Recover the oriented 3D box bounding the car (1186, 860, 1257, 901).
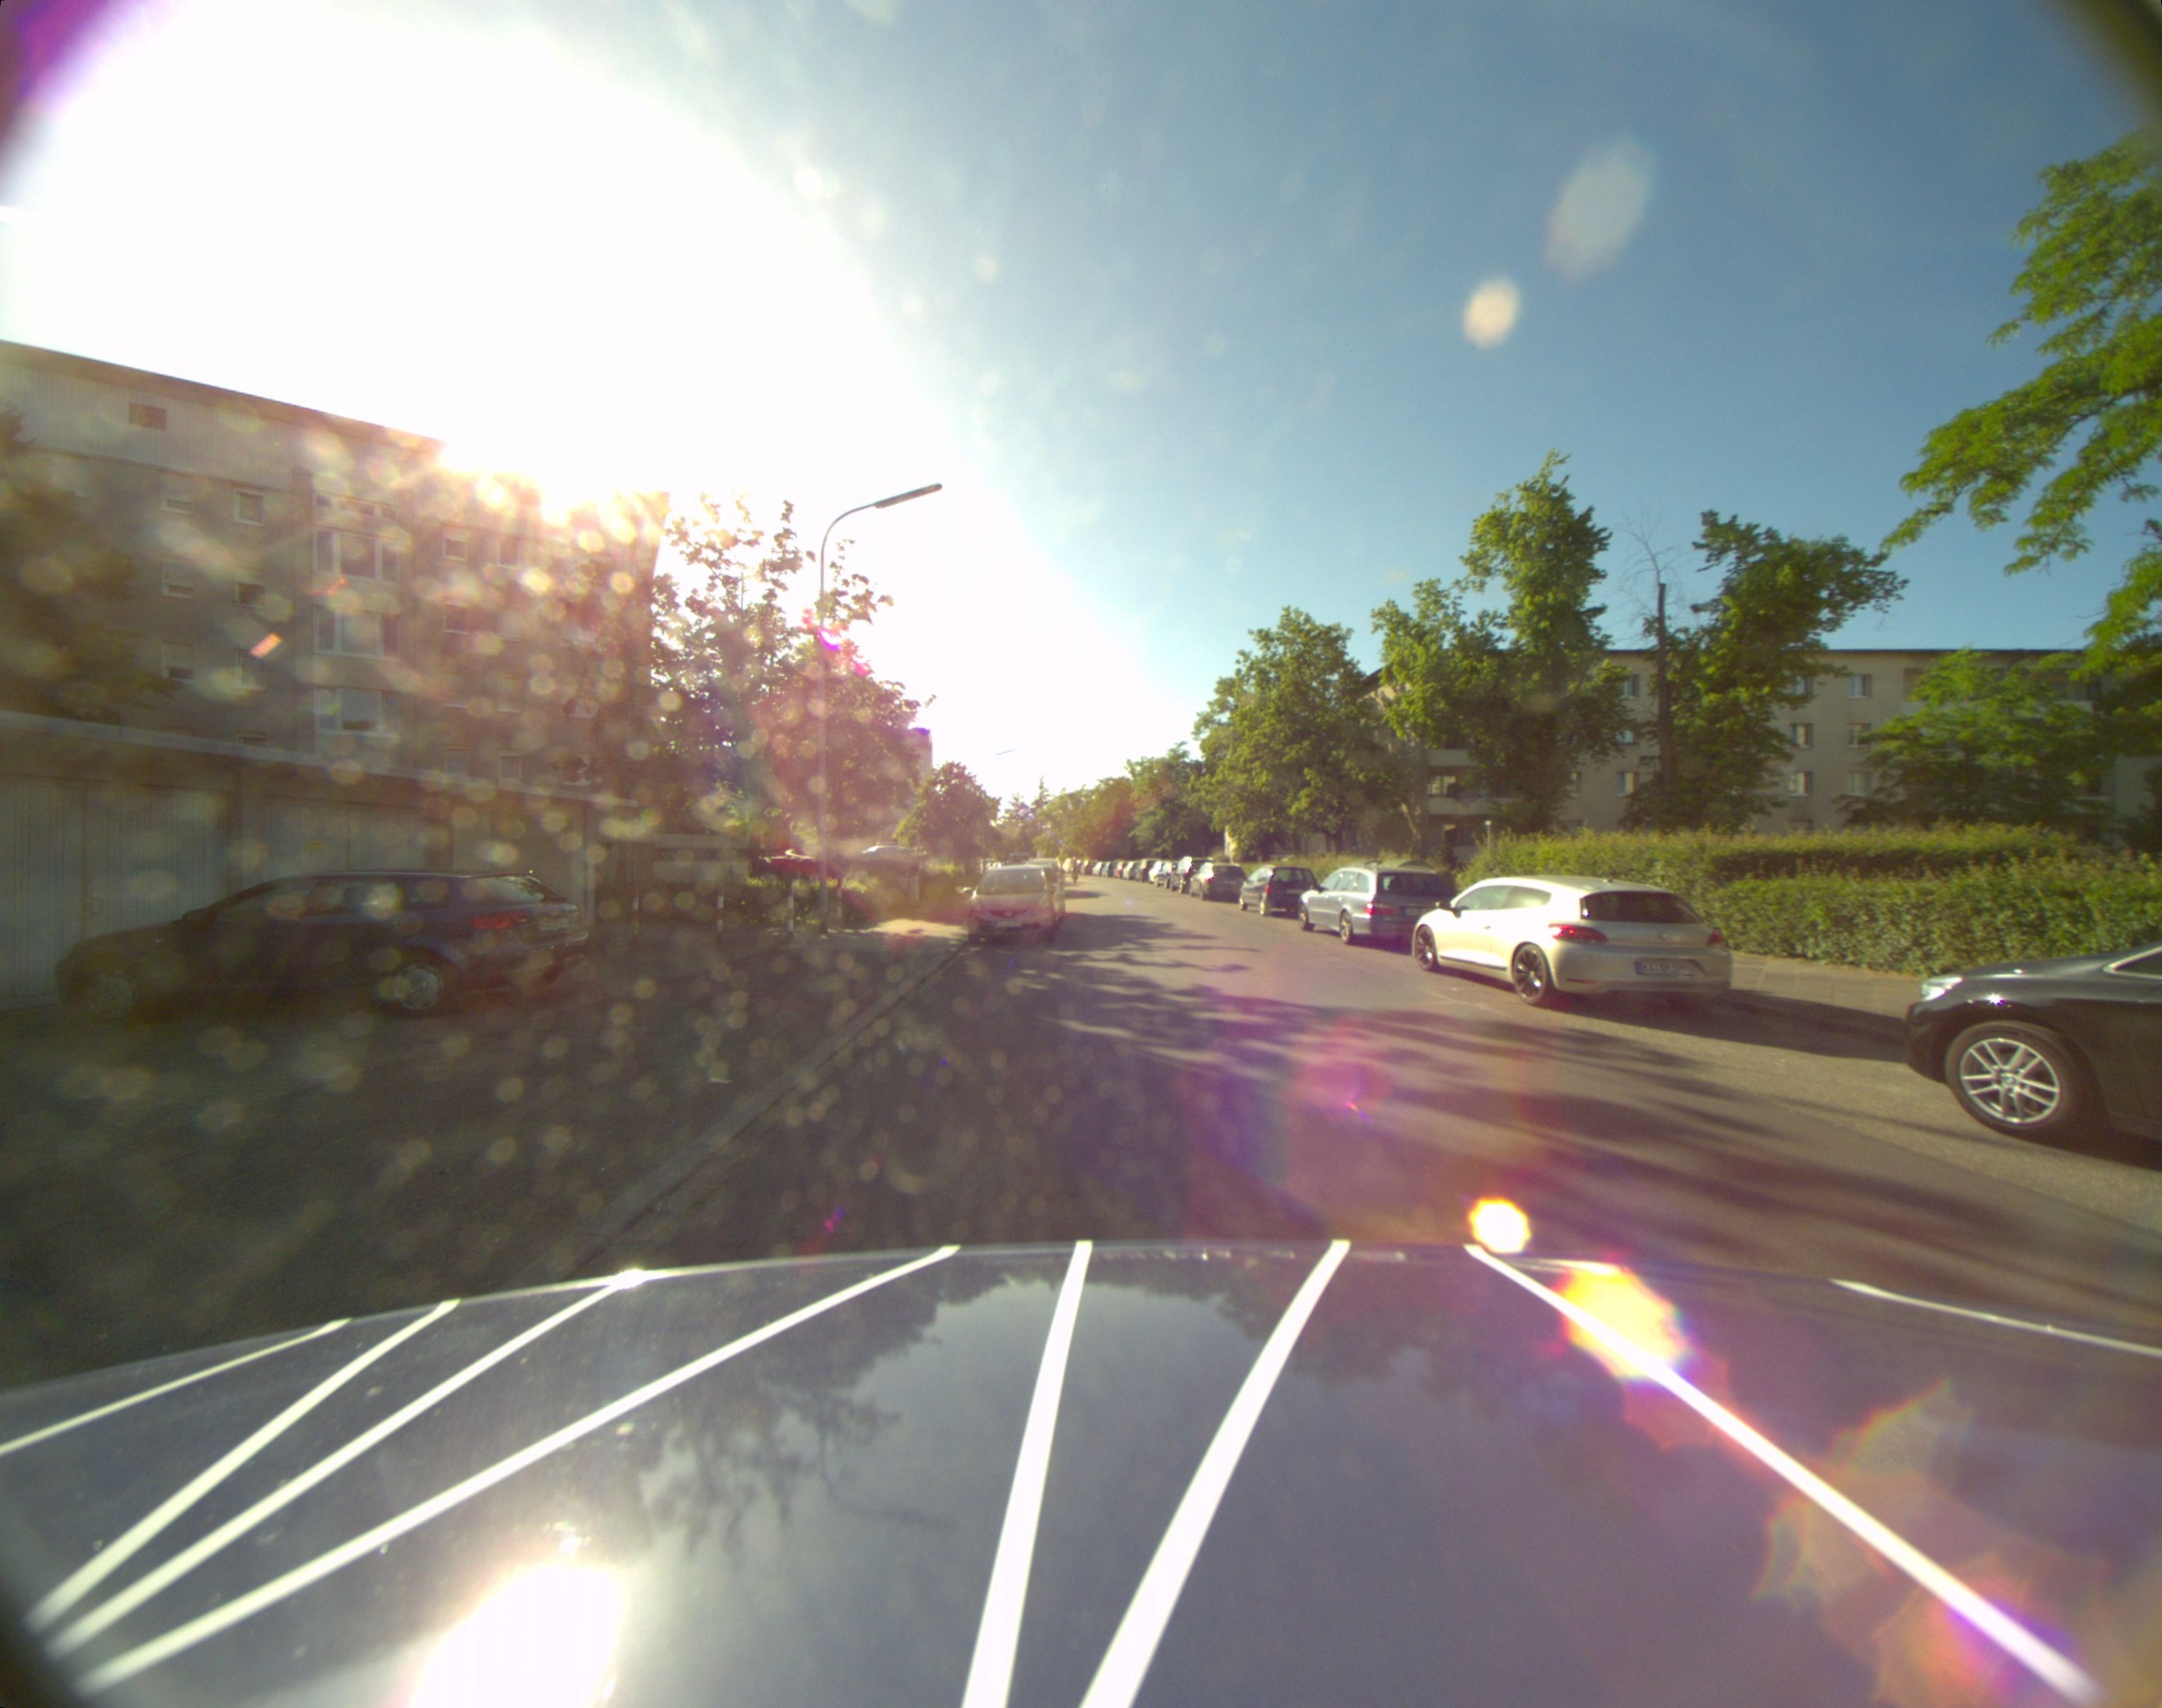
[{"bbox_3d":[5.466,0.998,30.166,1.759,1.377,4.673,1,1,-2],"label":"car"}]

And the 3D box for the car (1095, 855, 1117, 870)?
[{"bbox_3d":[2.516,0.888,77.236,1.659,1.470,3.733,1,0,-8],"label":"car"}]

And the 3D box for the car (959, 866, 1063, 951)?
[{"bbox_3d":[-1.330,1.027,15.887,1.809,1.486,3.795,-1,0,0],"label":"car"}]

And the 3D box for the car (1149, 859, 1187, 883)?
[{"bbox_3d":[5.325,1.016,47.025,1.759,1.428,4.150,1,0,-2],"label":"car"}]

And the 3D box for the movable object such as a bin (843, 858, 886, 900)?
[{"bbox_3d":[-7.705,0.876,27.104,1.328,1.423,1.029,-1,0,-7],"label":"movable object such as a bin"}]

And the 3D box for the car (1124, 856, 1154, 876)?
[{"bbox_3d":[4.532,0.926,59.931,1.811,1.470,3.939,1,0,-4],"label":"car"}]

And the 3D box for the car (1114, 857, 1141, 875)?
[{"bbox_3d":[3.973,0.985,65.111,1.636,1.470,3.877,1,0,-6],"label":"car"}]

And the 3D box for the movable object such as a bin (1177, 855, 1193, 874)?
[{"bbox_3d":[8.007,0.813,58.356,0.897,1.407,1.264,-3,1,-5],"label":"movable object such as a bin"}]

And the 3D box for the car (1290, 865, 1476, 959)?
[{"bbox_3d":[5.685,1.000,15.063,1.758,1.481,4.901,2,-1,1],"label":"car"}]

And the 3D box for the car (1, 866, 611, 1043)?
[{"bbox_3d":[-7.520,0.905,7.791,4.194,1.486,1.817,-1,0,-4],"label":"car"}]

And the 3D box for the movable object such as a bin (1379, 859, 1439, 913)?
[{"bbox_3d":[9.173,0.872,21.333,1.004,1.407,1.326,-3,0,-3],"label":"movable object such as a bin"}]

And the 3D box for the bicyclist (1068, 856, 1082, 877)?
[{"bbox_3d":[-0.379,0.830,49.541,0.813,1.348,1.090,-1,0,-4],"label":"bicyclist"}]

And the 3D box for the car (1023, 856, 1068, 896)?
[{"bbox_3d":[-1.500,0.927,33.745,1.758,1.617,4.495,-1,0,0],"label":"car"}]

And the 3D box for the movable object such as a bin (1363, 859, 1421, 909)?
[{"bbox_3d":[9.258,0.872,22.678,1.122,1.358,1.257,-3,0,-3],"label":"movable object such as a bin"}]

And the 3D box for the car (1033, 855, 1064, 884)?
[{"bbox_3d":[-2.065,0.933,47.034,1.759,1.664,4.411,-1,0,-5],"label":"car"}]

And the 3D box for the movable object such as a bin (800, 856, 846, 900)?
[{"bbox_3d":[-9.118,0.836,26.899,1.328,1.528,1.029,-1,0,-7],"label":"movable object such as a bin"}]

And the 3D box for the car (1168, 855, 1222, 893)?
[{"bbox_3d":[5.286,0.906,35.777,1.759,1.658,4.389,1,0,-2],"label":"car"}]

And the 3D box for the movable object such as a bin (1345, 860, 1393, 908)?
[{"bbox_3d":[9.098,0.926,24.037,0.897,1.407,1.326,-3,0,-3],"label":"movable object such as a bin"}]

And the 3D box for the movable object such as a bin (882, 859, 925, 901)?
[{"bbox_3d":[-6.337,0.912,27.200,1.328,1.419,1.069,2,0,-7],"label":"movable object such as a bin"}]

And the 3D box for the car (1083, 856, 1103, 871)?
[{"bbox_3d":[1.300,1.049,84.131,1.659,1.621,4.069,1,0,-7],"label":"car"}]

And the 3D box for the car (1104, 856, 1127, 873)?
[{"bbox_3d":[3.258,0.979,72.159,1.658,1.470,3.104,1,0,-6],"label":"car"}]

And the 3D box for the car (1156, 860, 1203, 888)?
[{"bbox_3d":[5.231,1.024,40.932,1.643,1.377,4.169,1,0,-5],"label":"car"}]

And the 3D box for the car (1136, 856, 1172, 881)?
[{"bbox_3d":[5.044,0.970,52.969,1.811,1.596,4.431,1,0,-3],"label":"car"}]

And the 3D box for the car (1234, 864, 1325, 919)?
[{"bbox_3d":[5.759,1.043,22.445,1.653,1.455,3.495,1,0,-2],"label":"car"}]

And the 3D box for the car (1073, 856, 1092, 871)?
[{"bbox_3d":[0.205,1.118,90.392,1.659,1.621,3.687,1,0,-9],"label":"car"}]

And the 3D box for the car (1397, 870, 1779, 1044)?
[{"bbox_3d":[5.529,0.991,9.087,1.758,1.416,4.210,2,1,1],"label":"car"}]

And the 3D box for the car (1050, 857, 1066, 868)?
[{"bbox_3d":[-3.299,1.171,107.906,1.659,1.558,3.686,1,0,-12],"label":"car"}]

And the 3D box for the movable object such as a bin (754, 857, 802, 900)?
[{"bbox_3d":[-10.616,0.850,26.672,1.326,1.472,1.029,-1,0,-7],"label":"movable object such as a bin"}]

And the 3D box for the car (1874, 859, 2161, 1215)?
[{"bbox_3d":[5.870,0.868,2.545,1.759,1.626,4.369,2,0,-1],"label":"car"}]

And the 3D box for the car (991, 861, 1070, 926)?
[{"bbox_3d":[-1.280,0.984,20.950,1.835,1.537,4.640,-1,0,0],"label":"car"}]

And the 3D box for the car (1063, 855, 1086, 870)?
[{"bbox_3d":[-0.821,1.084,96.108,1.886,1.857,5.434,1,0,-11],"label":"car"}]

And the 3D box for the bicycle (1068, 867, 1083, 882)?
[{"bbox_3d":[-0.367,1.300,49.432,0.824,0.896,2.202,-1,0,-5],"label":"bicycle"}]
